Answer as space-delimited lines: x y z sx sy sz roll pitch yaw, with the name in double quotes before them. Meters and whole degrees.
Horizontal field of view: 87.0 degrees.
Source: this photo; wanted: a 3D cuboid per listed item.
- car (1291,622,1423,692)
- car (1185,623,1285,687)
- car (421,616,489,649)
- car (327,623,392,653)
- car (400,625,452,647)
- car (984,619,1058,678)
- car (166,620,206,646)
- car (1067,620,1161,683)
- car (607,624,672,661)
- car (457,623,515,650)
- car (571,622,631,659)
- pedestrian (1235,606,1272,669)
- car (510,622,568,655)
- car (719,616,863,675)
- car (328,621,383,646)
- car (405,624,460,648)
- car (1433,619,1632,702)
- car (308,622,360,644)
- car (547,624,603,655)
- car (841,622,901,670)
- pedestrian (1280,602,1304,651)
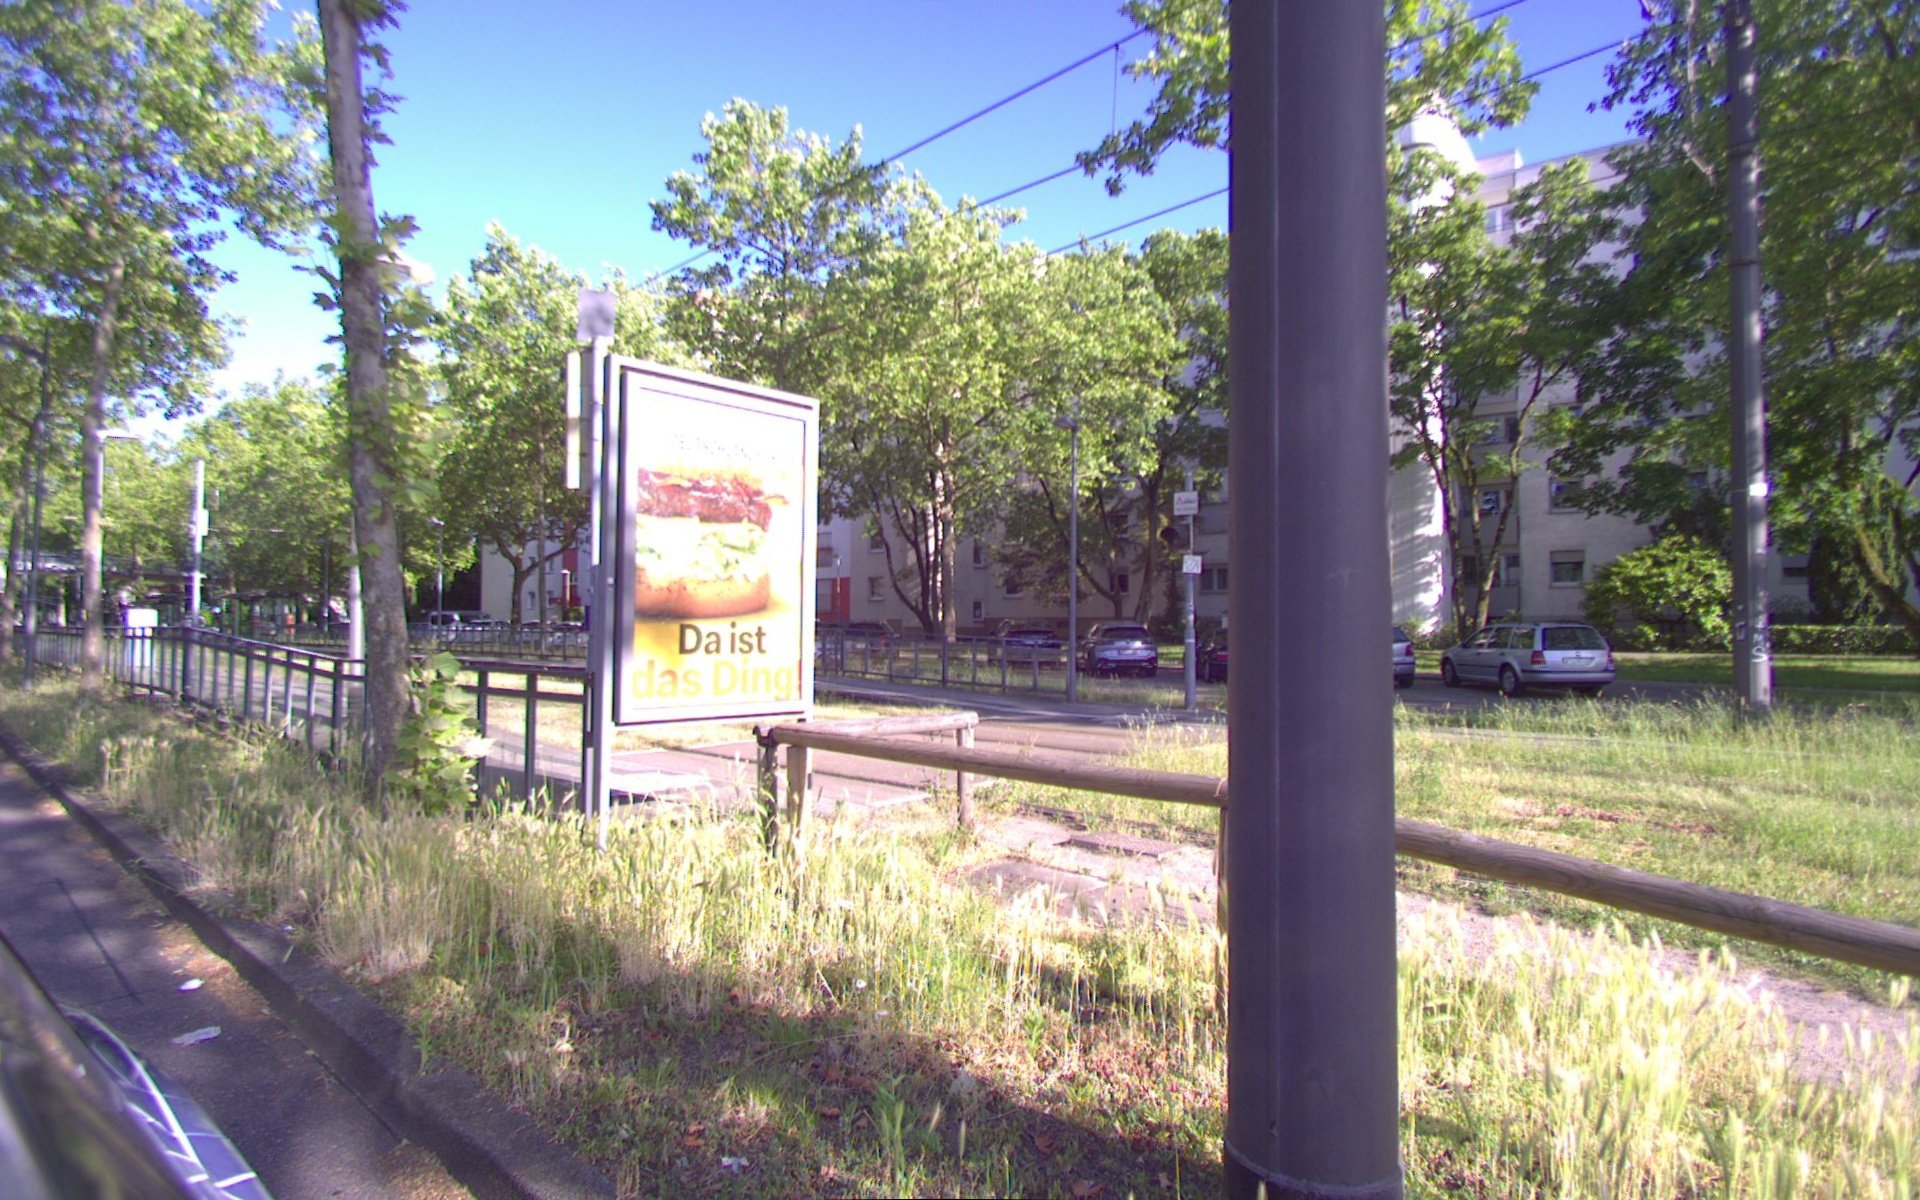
"car" 9.107 1.265 23.527 1.553 1.431 3.620 -1 -1 -1
"car" 6.773 1.316 25.295 1.572 1.360 3.922 -1 0 3
"car" -28.411 1.809 57.067 1.843 1.826 4.047 0 -1 0
"car" -31.349 1.957 52.828 4.100 1.523 1.746 -1 -2 41
"car" -33.034 2.188 62.675 1.459 1.311 3.488 0 -1 -1
"car" 1.731 1.371 29.812 1.669 1.499 4.003 -1 0 -4
"car" -60.821 2.566 79.494 4.652 2.007 1.772 -1 -2 43
"car" 4.124 1.337 27.686 1.650 1.469 4.004 -1 0 -4
"car" -14.023 1.842 44.474 1.470 1.425 3.880 -1 0 3
"car" -25.889 1.985 55.438 1.605 1.414 3.488 0 -1 -1
"car" -16.636 1.863 47.066 1.445 1.519 3.393 -1 0 3
"pedestrian" 8.391 1.073 28.971 0.755 1.770 0.752 -1 -2 41
"car" -21.169 1.925 50.990 1.539 1.436 3.489 -3 0 -2
"car" -4.866 1.247 28.733 4.330 1.534 1.786 -1 -2 43
"car" -40.637 2.230 68.134 1.578 1.582 3.830 0 -1 -3
"car" -30.933 2.069 59.445 1.459 1.354 3.488 0 -1 -1
"car" 11.542 1.161 20.741 1.685 1.454 3.978 -1 0 -2
"car" -44.896 2.361 72.604 1.578 1.538 3.737 0 -1 -3
"car" -18.765 1.894 49.457 1.459 1.339 3.488 -2 0 -1
"car" -2.999 1.544 34.658 1.538 1.439 3.761 -1 0 3
"pedestrian" 11.935 0.949 36.384 0.634 1.770 0.516 -1 -2 39
